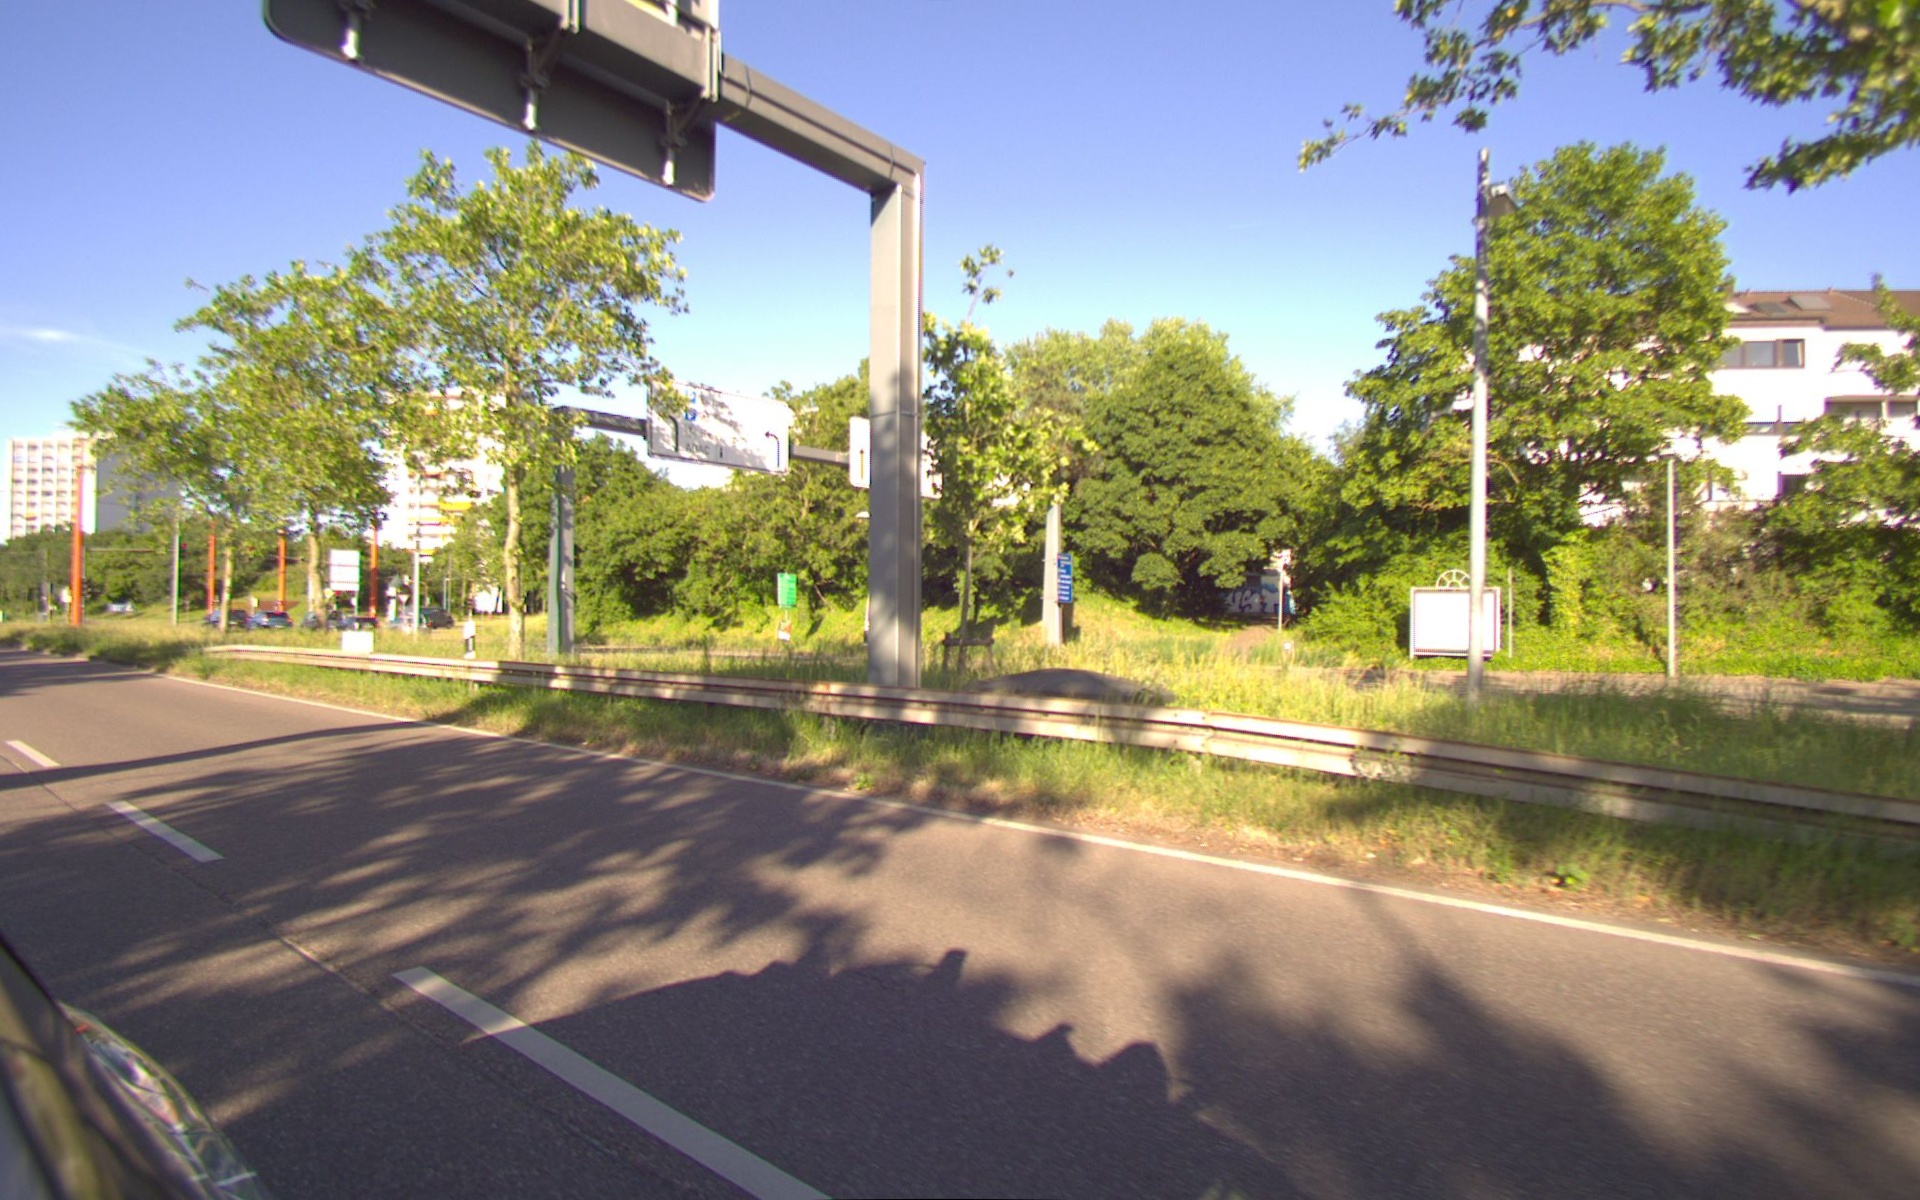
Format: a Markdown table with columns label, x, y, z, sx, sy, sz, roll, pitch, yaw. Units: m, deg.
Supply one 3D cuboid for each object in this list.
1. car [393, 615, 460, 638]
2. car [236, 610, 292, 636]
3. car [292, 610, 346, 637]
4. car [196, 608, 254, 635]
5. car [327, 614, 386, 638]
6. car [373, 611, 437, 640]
| label | x | y | z | sx | sy | sz | roll | pitch | yaw |
| --- | --- | --- | --- | --- | --- | --- | --- | --- | --- |
| car | -51.900 | 2.554 | 98.606 | 2.033 | 2.221 | 5.605 | -1 | -1 | 29 |
| car | -46.141 | 1.520 | 67.084 | 4.562 | 1.623 | 1.879 | -1 | -4 | 40 |
| car | -44.688 | 1.626 | 70.527 | 4.443 | 1.789 | 1.879 | -1 | -4 | 40 |
| car | -45.629 | 1.363 | 62.799 | 4.562 | 1.577 | 1.879 | -1 | -4 | 40 |
| car | -39.552 | 1.712 | 66.287 | 4.562 | 1.486 | 1.879 | -1 | -4 | 40 |
| car | -33.954 | 1.567 | 61.890 | 4.562 | 1.623 | 1.879 | -1 | -4 | 40 |
